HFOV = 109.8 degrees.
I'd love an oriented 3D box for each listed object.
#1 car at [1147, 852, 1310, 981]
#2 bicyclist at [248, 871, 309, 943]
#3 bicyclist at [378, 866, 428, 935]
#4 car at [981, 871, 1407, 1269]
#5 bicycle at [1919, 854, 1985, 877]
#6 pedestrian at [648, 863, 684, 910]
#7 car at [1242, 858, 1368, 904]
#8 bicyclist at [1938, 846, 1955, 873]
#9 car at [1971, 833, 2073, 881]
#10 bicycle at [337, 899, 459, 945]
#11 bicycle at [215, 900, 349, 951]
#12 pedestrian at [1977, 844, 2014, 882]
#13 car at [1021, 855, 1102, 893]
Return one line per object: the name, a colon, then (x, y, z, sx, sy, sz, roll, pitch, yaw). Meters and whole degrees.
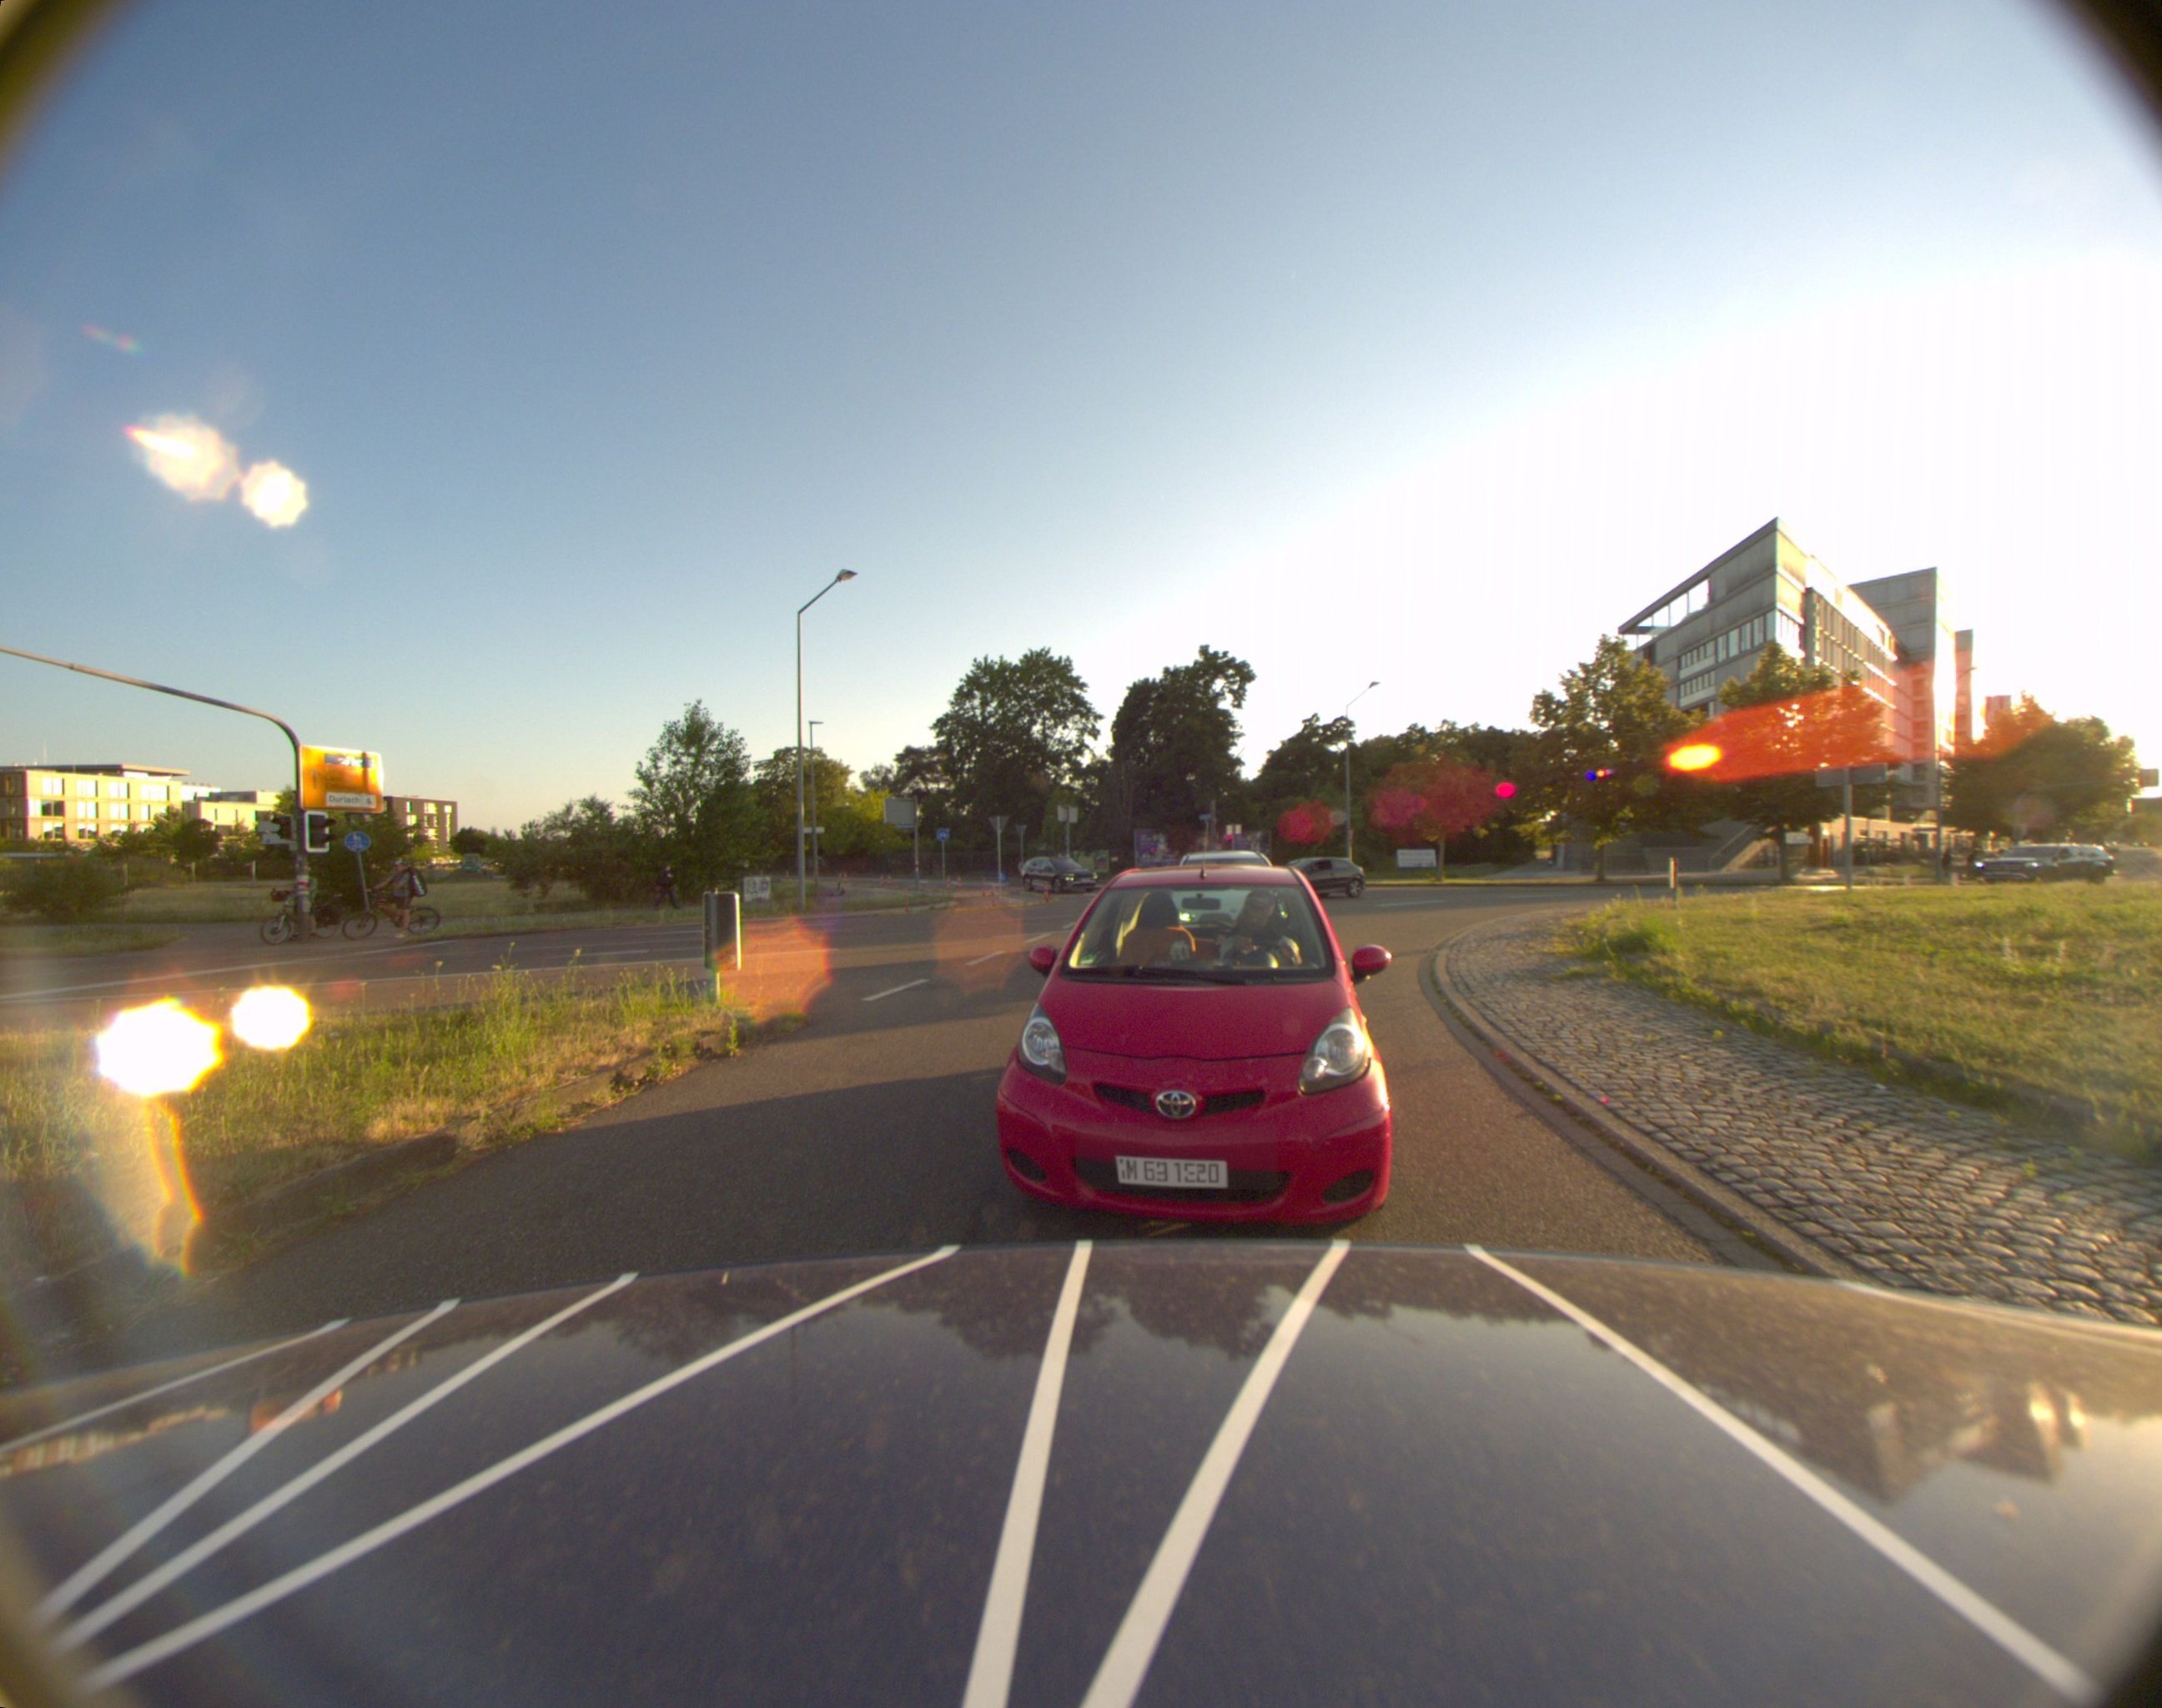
car: (2.096, 0.794, 11.661, 1.997, 1.597, 4.200, -1, 0, 7)
bicyclist: (-19.335, 1.253, 18.315, 0.724, 1.680, 0.690, -1, 1, 12)
bicyclist: (-17.150, 1.160, 19.222, 0.723, 1.680, 0.690, -1, 1, 28)
car: (0.831, 0.889, 5.037, 1.687, 1.412, 4.003, -1, 0, 12)
bicycle: (47.087, 0.622, 41.114, 0.744, 1.237, 2.341, -2, 1, -41)
pedestrian: (-14.499, 1.120, 26.516, 0.993, 1.581, 0.924, -1, 1, -33)
car: (7.763, 0.885, 26.280, 4.131, 1.371, 1.747, -1, 0, -28)
bicyclist: (46.974, 0.302, 41.256, 0.693, 1.432, 0.610, -2, 1, -42)
car: (38.480, 0.143, 31.039, 5.315, 1.801, 1.995, 0, -1, -33)
bicycle: (-17.165, 1.675, 19.162, 0.708, 0.957, 2.149, -1, 0, 26)
bicycle: (-19.276, 1.693, 18.402, 0.708, 0.958, 2.109, -1, 2, 14)
pedestrian: (49.366, 0.470, 41.023, 0.776, 2.002, 0.998, -2, 1, -11)
car: (-0.995, 0.874, 35.035, 2.003, 1.588, 4.304, -1, 0, -28)
